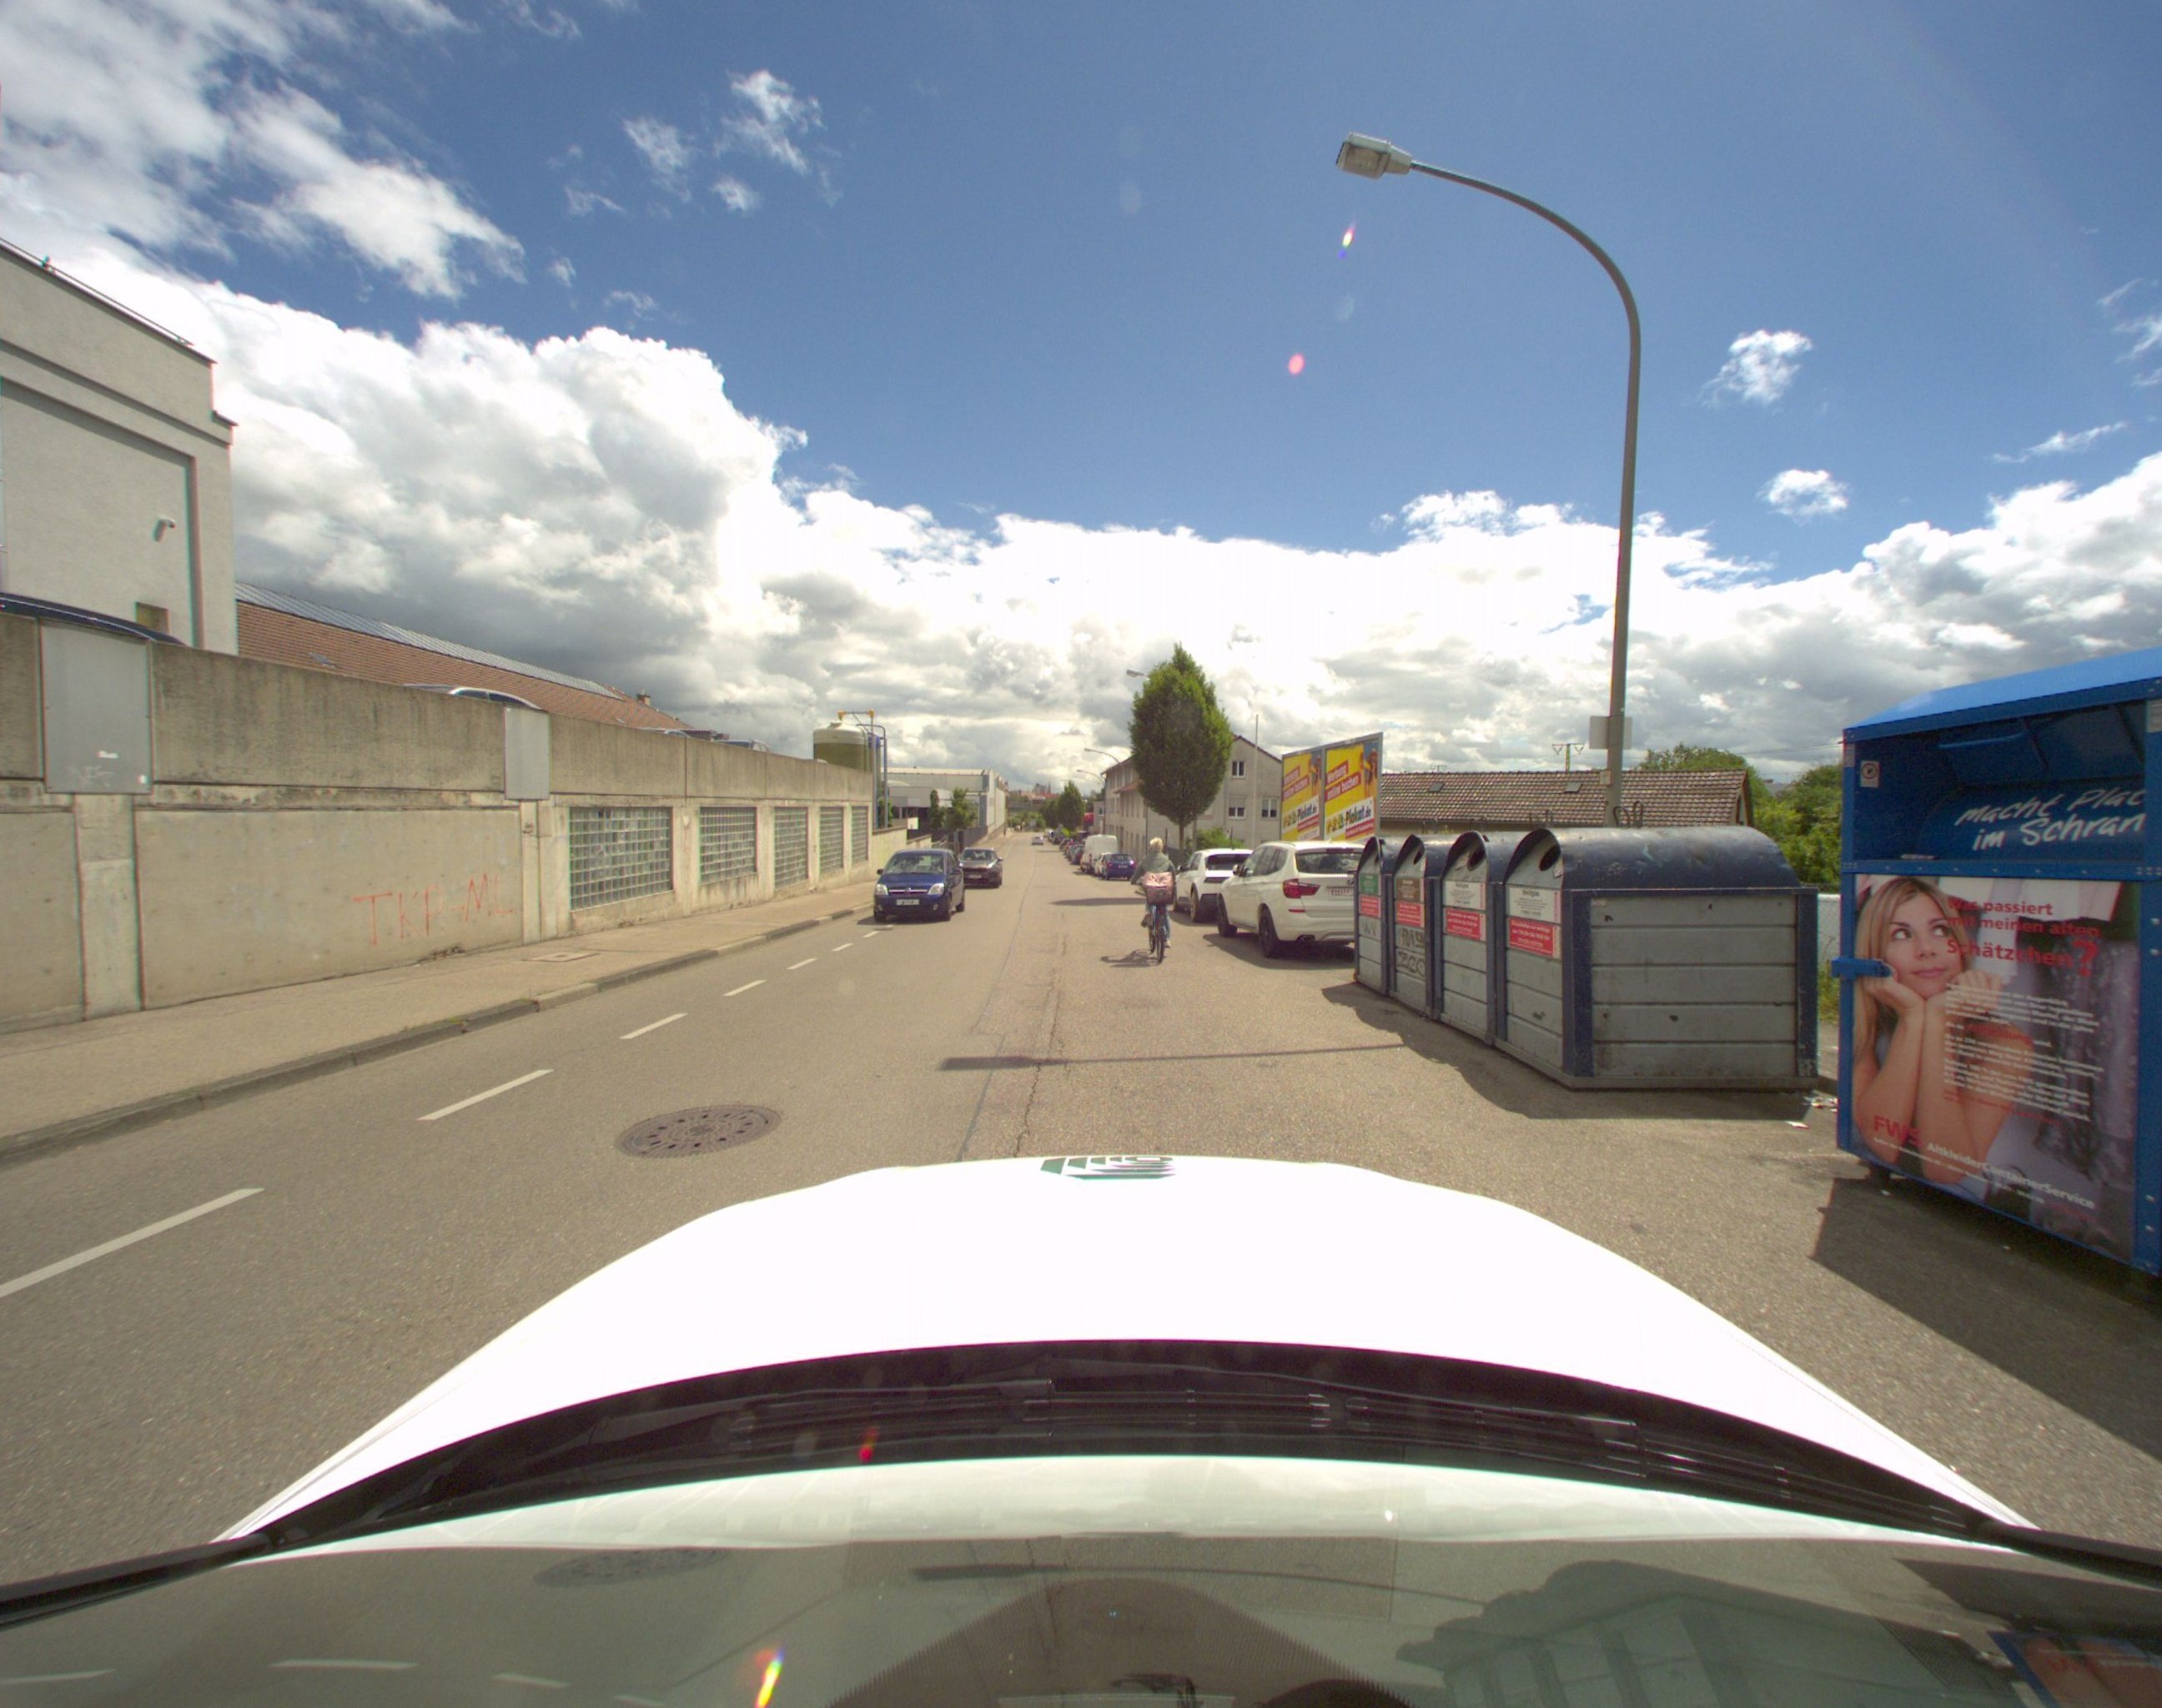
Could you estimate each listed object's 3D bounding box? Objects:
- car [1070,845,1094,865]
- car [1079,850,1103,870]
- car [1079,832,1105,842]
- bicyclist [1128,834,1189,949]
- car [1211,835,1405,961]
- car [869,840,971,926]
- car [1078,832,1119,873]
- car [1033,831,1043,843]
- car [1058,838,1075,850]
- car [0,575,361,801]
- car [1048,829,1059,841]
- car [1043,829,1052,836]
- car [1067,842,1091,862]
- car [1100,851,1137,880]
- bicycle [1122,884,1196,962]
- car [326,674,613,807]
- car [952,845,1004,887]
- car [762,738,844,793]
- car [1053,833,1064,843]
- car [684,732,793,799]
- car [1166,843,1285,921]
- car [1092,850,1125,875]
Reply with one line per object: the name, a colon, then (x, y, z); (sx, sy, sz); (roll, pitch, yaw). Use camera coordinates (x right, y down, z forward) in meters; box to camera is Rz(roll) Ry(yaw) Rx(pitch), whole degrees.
car: (0.035, 0.059, 72.703); (1.702, 1.509, 5.080); (3, 2, -5)
car: (0.732, 0.454, 62.628); (1.589, 1.447, 3.786); (1, 1, -3)
car: (1.649, -2.633, 126.998); (1.735, 1.462, 4.026); (-4, 3, -42)
bicyclist: (1.113, 0.531, 11.856); (0.738, 1.626, 0.730); (1, 0, -6)
car: (3.373, 0.578, 13.053); (1.682, 1.659, 4.475); (0, 0, -3)
car: (-3.685, 0.614, 19.208); (1.621, 1.817, 3.780); (-1, 0, 0)
car: (1.147, -0.110, 56.359); (2.030, 2.641, 7.270); (1, 0, -5)
car: (-6.720, -2.621, 126.983); (1.564, 1.786, 3.600); (1, 0, -4)
car: (-1.901, -1.293, 106.546); (1.788, 1.465, 4.700); (1, 1, -5)
car: (-9.899, -1.498, 8.157); (1.801, 1.636, 4.101); (1, 0, -2)
car: (-4.974, -3.466, 147.864); (1.866, 1.990, 5.137); (1, 2, -4)
car: (-7.850, -4.970, 191.810); (1.700, 1.527, 3.729); (3, 2, -8)
car: (-0.233, -0.246, 78.270); (1.675, 1.637, 4.785); (2, 2, -8)
car: (2.067, 0.600, 45.492); (1.564, 1.510, 4.088); (1, 0, -4)
bicycle: (1.104, 0.965, 11.877); (0.739, 0.975, 1.729); (1, 1, -6)
car: (-9.899, -1.730, 13.677); (1.801, 1.636, 4.101); (1, 0, -2)
car: (-4.242, 0.452, 34.050); (1.795, 1.622, 4.089); (-1, 0, -3)
car: (-10.441, -3.282, 30.865); (1.801, 1.636, 4.101); (1, 0, -2)
car: (-3.668, -2.646, 133.078); (1.675, 1.637, 4.120); (1, 2, -2)
car: (-10.668, -2.711, 25.711); (1.801, 1.636, 4.101); (1, 0, -2)
car: (3.194, 0.574, 18.883); (1.837, 1.565, 4.463); (-1, 0, -2)
car: (1.655, 0.510, 50.317); (1.590, 1.510, 3.783); (1, 0, -5)
